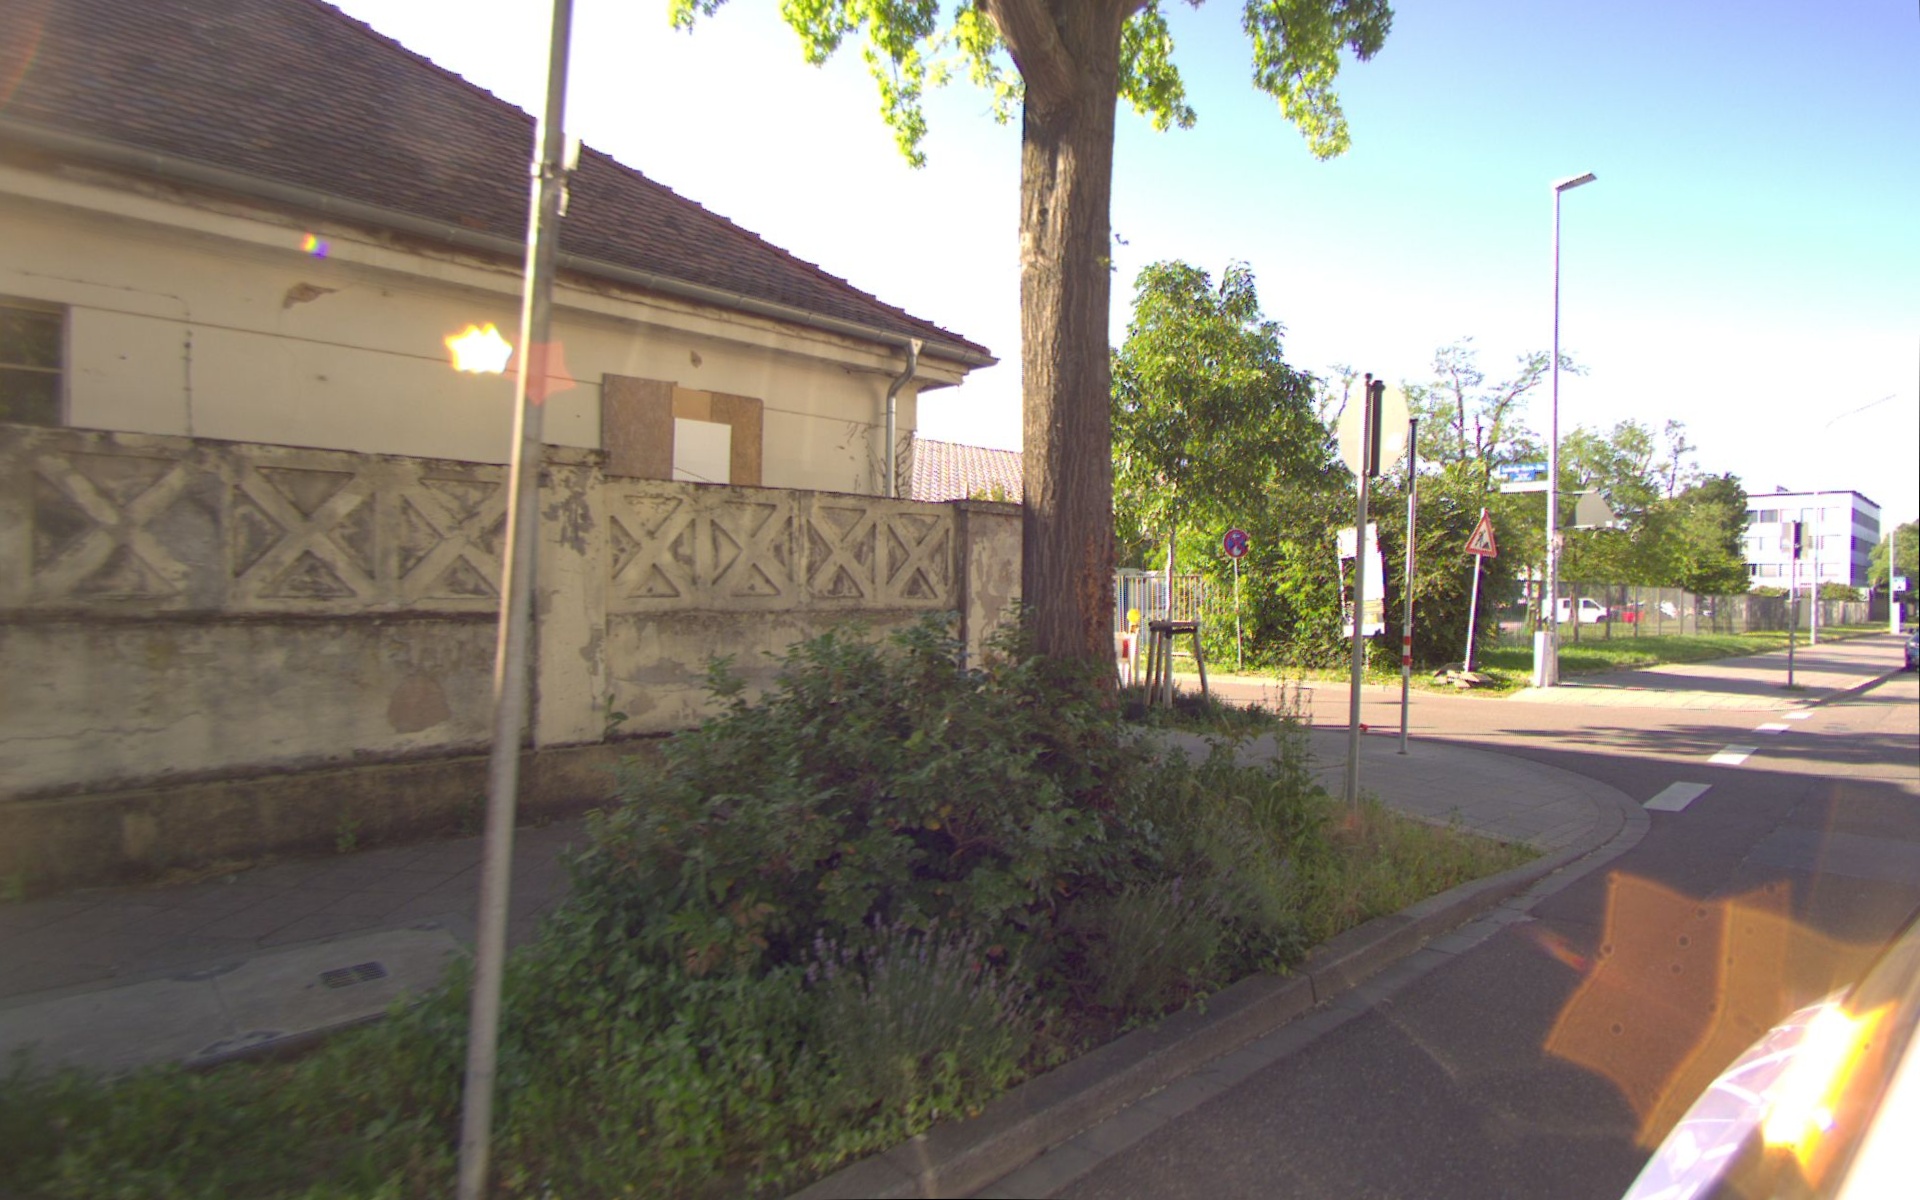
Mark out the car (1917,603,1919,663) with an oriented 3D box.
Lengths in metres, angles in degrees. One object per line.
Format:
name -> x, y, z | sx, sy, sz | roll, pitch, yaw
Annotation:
car -> 25.661, 0.837, 25.544 | 4.140, 1.471, 1.821 | 0, 1, -41
